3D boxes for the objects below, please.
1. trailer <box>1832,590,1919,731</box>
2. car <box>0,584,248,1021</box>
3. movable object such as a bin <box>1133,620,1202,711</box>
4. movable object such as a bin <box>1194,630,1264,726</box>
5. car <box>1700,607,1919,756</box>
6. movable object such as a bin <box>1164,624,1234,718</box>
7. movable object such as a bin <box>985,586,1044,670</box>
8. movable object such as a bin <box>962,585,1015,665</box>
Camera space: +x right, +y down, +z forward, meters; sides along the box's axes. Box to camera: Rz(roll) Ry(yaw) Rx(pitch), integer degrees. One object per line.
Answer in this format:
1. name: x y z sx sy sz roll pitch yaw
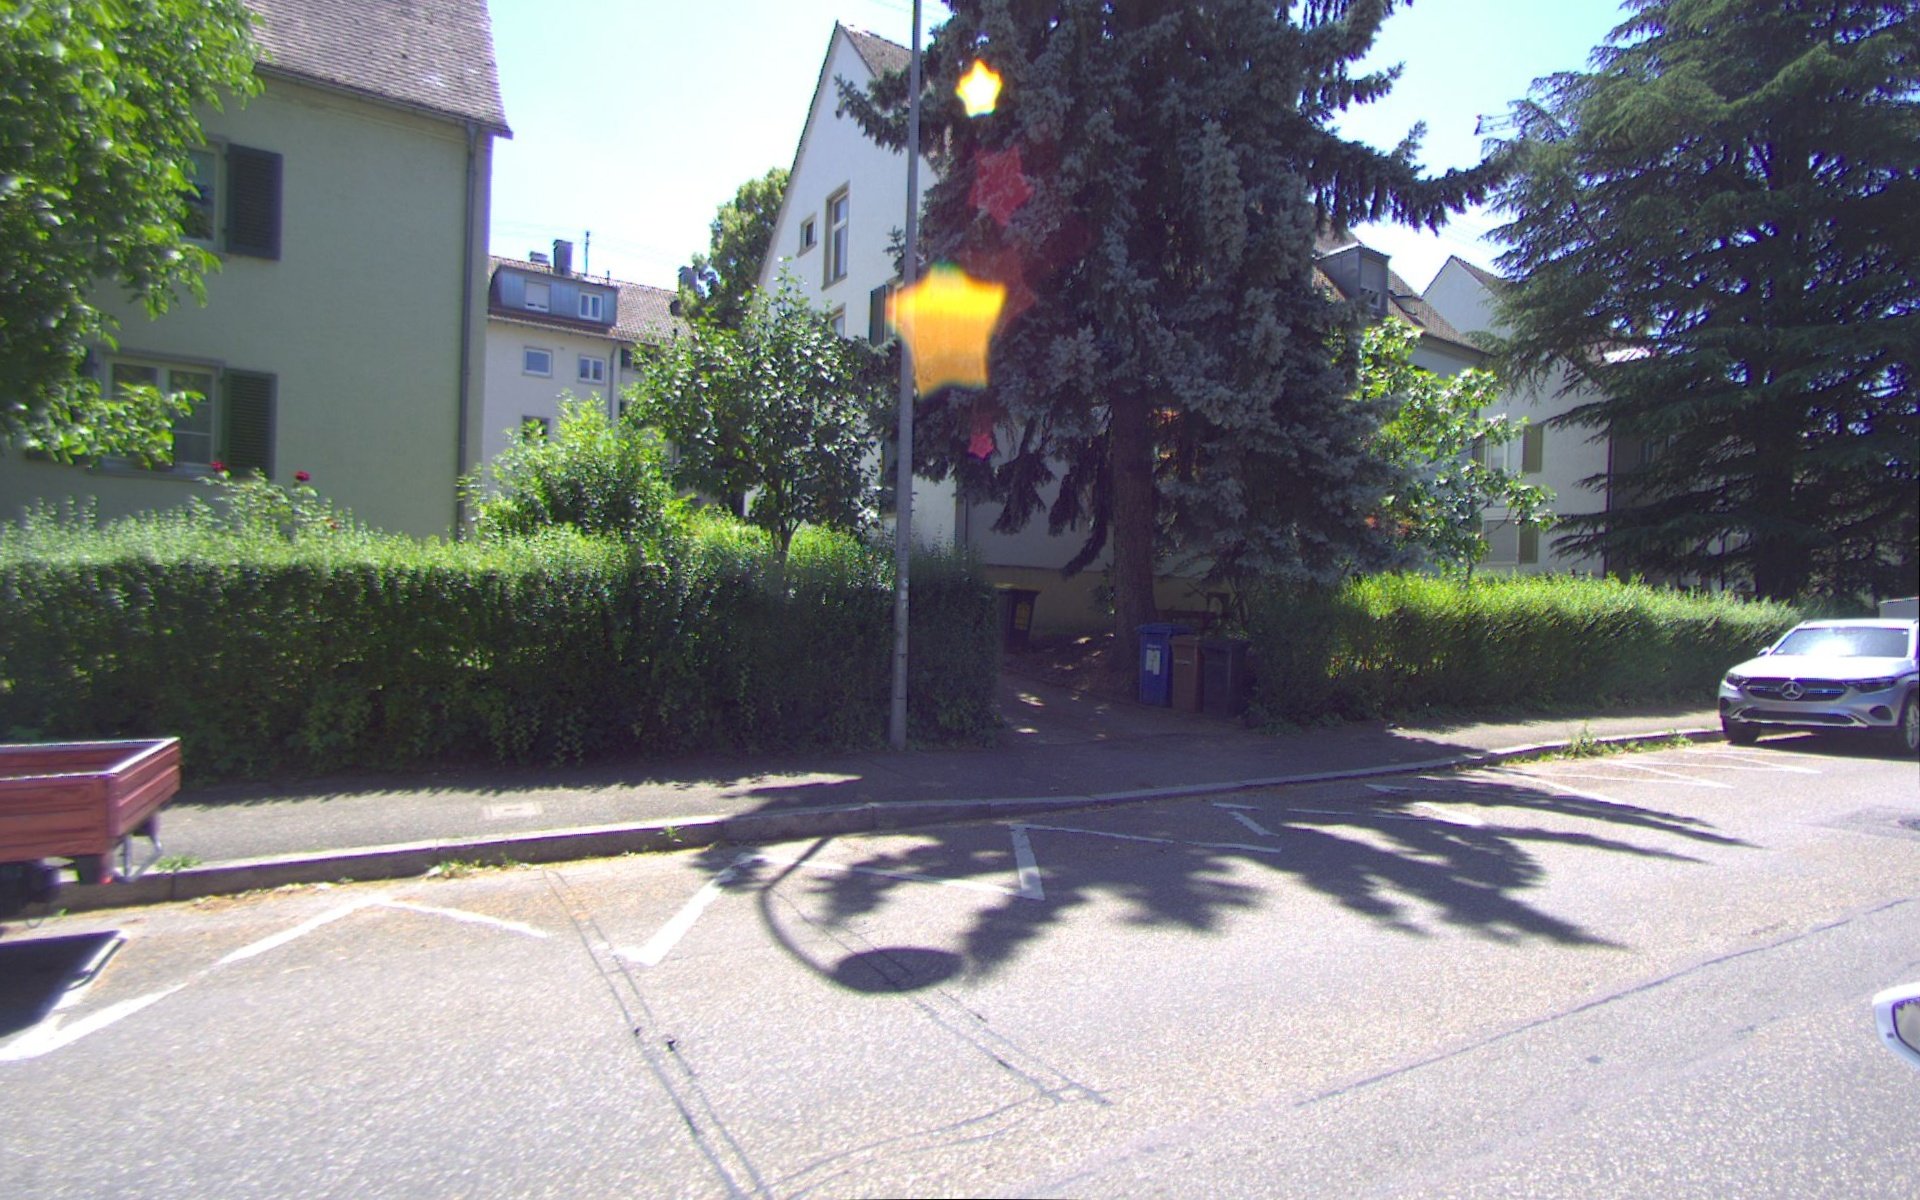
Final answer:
1. trailer: 15.710 0.935 15.869 4.118 2.067 1.837 2 -2 -33
2. car: -4.453 0.711 3.699 2.806 1.523 1.405 1 -2 -29
3. movable object such as a bin: 2.693 0.837 13.033 0.638 1.097 0.536 0 4 -32
4. movable object such as a bin: 3.257 0.924 12.158 0.610 1.080 0.483 0 4 -33
5. car: 12.022 1.003 13.483 4.661 1.693 1.840 2 -2 -33
6. movable object such as a bin: 2.986 0.876 12.556 0.635 1.097 0.483 0 4 -33
7. movable object such as a bin: 0.843 0.431 15.738 0.696 1.244 0.571 1 4 -23
8. movable object such as a bin: 0.454 0.399 16.292 0.660 1.244 0.555 1 2 -23
